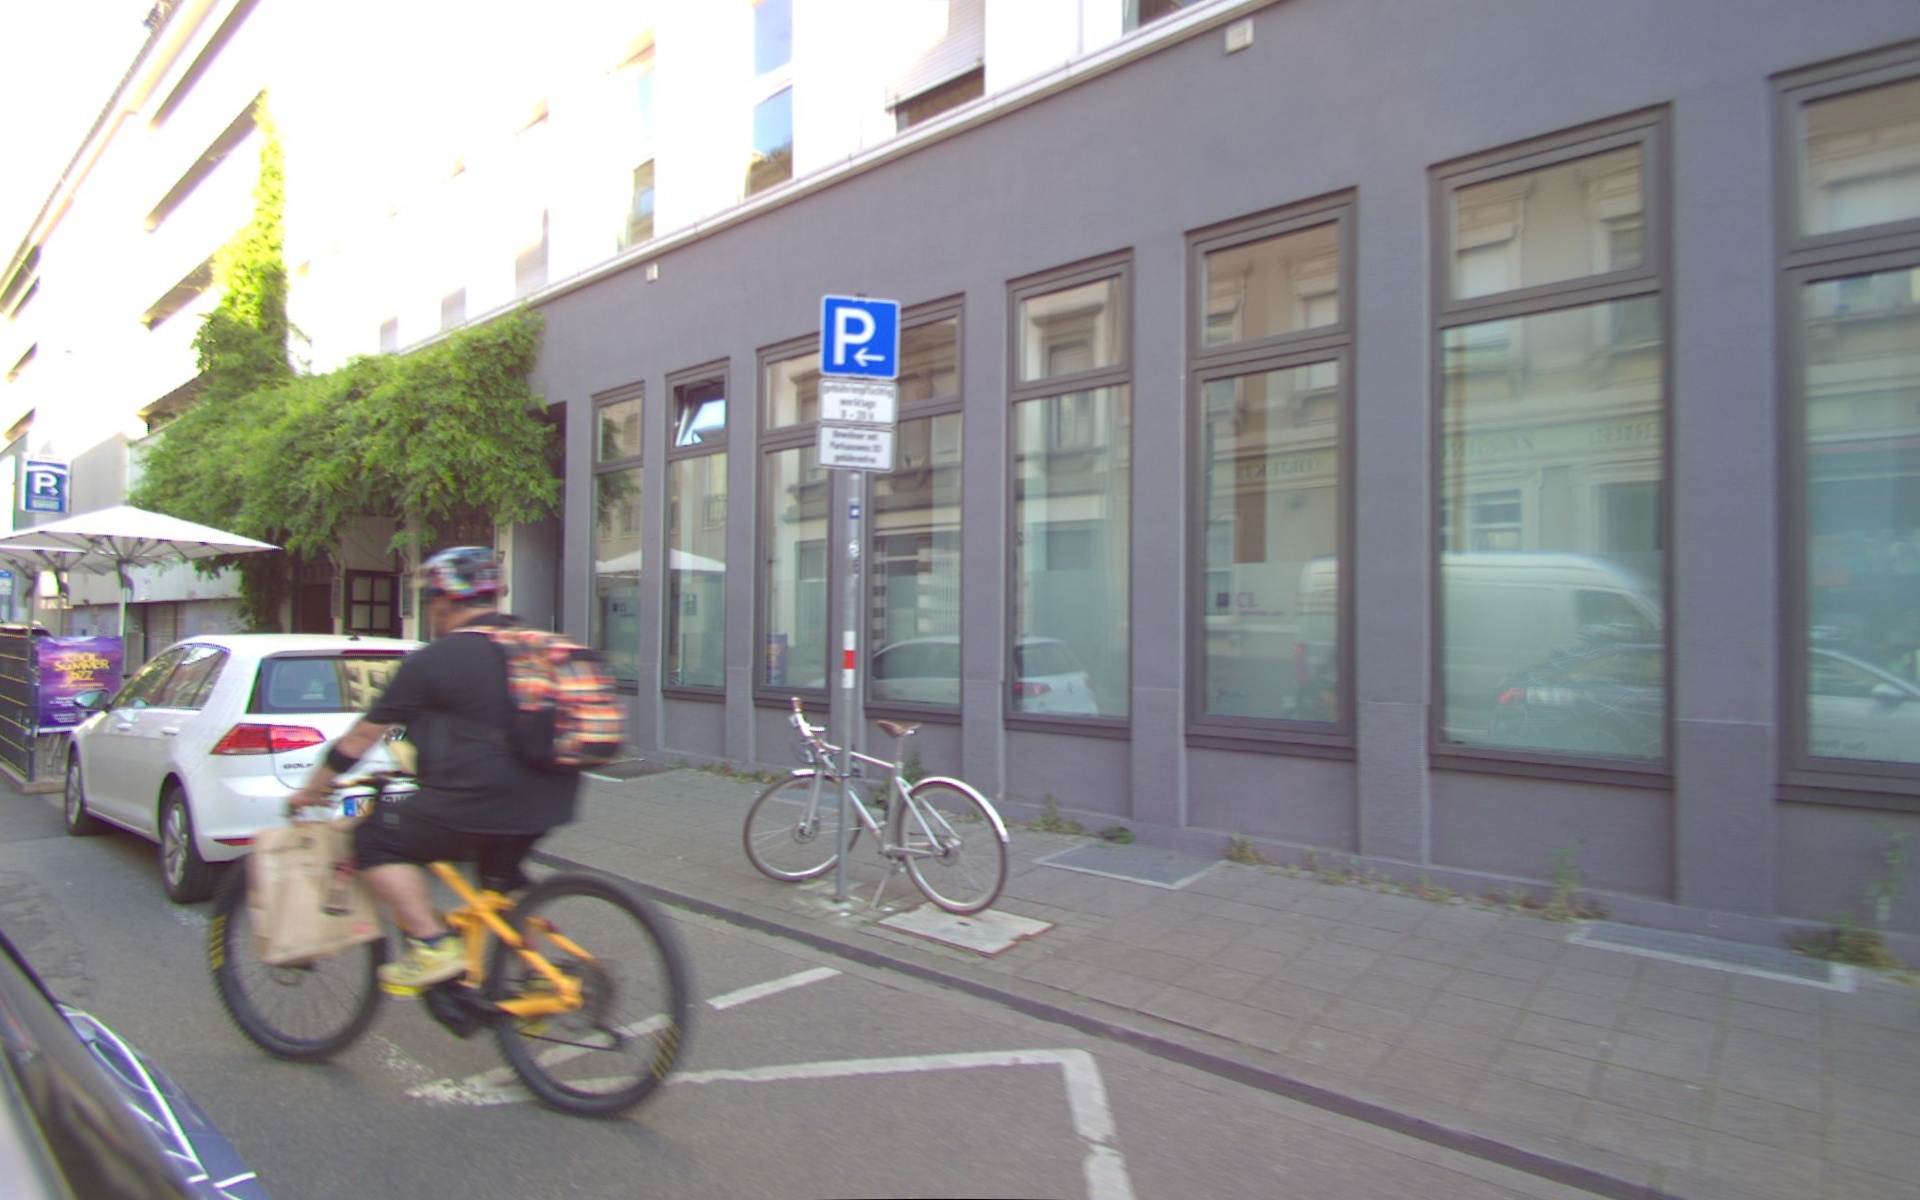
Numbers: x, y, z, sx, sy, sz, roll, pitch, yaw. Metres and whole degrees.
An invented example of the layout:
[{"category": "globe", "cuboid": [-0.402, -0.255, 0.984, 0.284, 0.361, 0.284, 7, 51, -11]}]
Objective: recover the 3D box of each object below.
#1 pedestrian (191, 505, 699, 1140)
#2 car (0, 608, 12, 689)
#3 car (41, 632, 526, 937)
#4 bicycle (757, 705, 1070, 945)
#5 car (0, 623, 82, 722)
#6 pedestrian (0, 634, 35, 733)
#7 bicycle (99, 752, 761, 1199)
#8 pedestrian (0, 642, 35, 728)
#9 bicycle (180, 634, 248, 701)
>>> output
[{"category": "pedestrian", "cuboid": [-1.476, 0.555, 3.040, 1.072, 1.557, 0.828, 0, -2, 15]}, {"category": "car", "cuboid": [-25.690, 1.167, 25.414, 4.844, 1.955, 1.974, -1, -4, 38]}, {"category": "car", "cuboid": [-4.669, 0.950, 6.776, 3.879, 1.424, 1.641, -1, -2, 40]}, {"category": "bicycle", "cuboid": [-0.285, 1.046, 5.125, 1.643, 0.912, 0.590, -1, -2, 41]}, {"category": "car", "cuboid": [-17.235, 1.197, 17.739, 4.764, 1.580, 1.863, -1, -5, 38]}, {"category": "pedestrian", "cuboid": [-12.957, 1.103, 13.500, 0.915, 1.297, 0.773, -1, -3, 40]}, {"category": "bicycle", "cuboid": [-1.628, 1.044, 3.117, 1.963, 1.015, 0.537, 0, -2, 15]}, {"category": "pedestrian", "cuboid": [-13.585, 1.183, 14.238, 0.544, 1.174, 0.743, 1, -2, -18]}, {"category": "bicycle", "cuboid": [-13.727, 1.216, 18.609, 1.793, 1.169, 0.636, -1, -2, 41]}]
